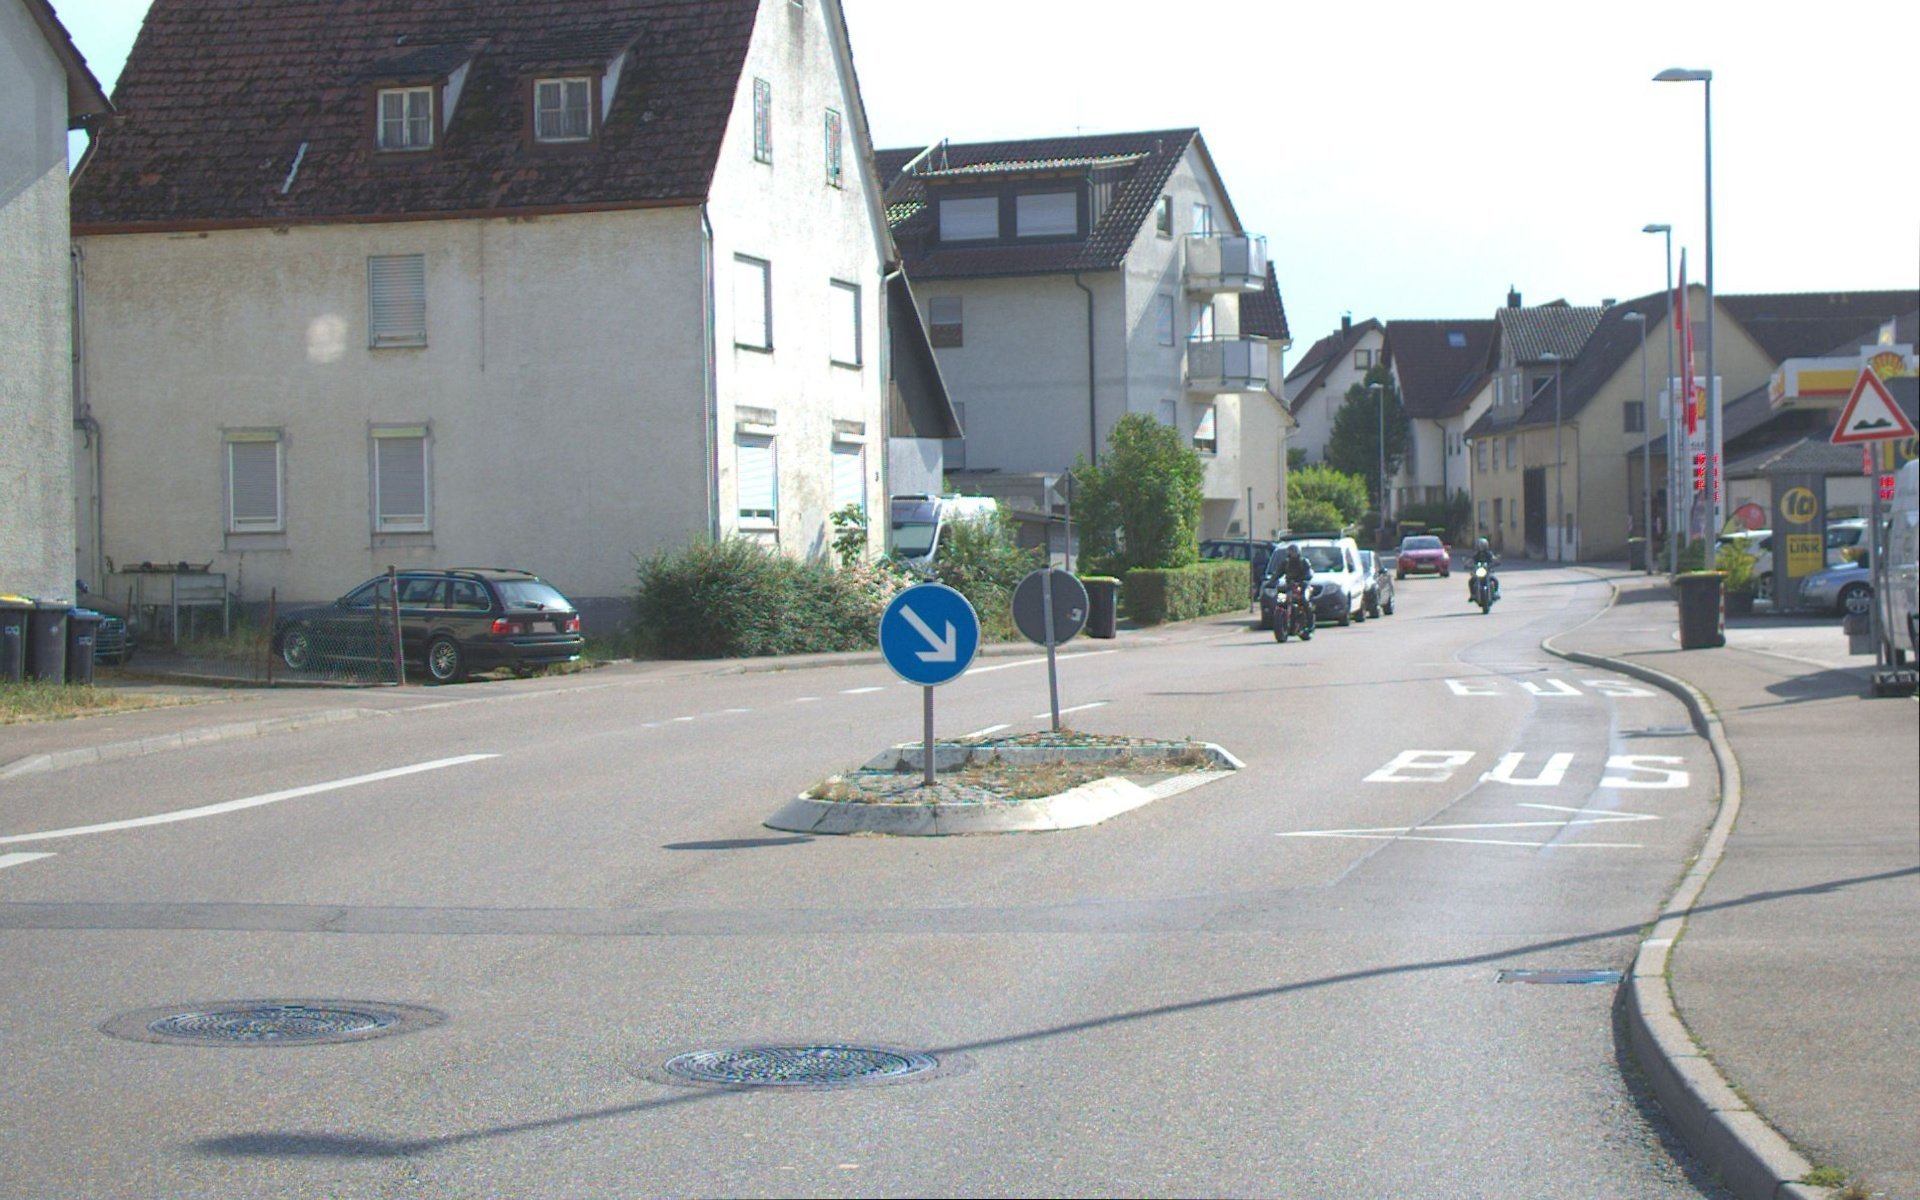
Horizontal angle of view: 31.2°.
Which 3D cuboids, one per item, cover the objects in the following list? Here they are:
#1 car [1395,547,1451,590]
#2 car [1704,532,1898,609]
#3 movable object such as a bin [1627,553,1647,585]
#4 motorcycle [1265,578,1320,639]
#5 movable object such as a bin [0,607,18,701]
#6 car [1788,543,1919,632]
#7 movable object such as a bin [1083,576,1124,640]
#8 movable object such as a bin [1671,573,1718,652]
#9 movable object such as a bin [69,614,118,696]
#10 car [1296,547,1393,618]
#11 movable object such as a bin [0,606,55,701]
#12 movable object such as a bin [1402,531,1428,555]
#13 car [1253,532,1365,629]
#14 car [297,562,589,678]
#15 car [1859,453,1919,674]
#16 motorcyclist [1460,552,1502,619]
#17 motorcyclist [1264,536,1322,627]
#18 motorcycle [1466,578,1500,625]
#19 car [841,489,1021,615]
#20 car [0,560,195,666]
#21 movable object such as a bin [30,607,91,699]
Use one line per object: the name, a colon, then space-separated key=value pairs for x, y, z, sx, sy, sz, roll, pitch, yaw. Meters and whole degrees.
car: x=16.084 y=-1.102 z=119.574 sx=1.709 sy=1.430 sz=3.780 roll=-2 pitch=1 yaw=5
car: x=18.106 y=-0.641 z=74.176 sx=3.989 sy=1.602 sz=1.999 roll=0 pitch=1 yaw=12
movable object such as a bin: x=23.260 y=-1.058 z=118.069 sx=0.653 sy=1.070 sz=0.513 roll=-1 pitch=1 yaw=9
motorcycle: x=5.705 y=0.135 z=58.886 sx=0.538 sy=1.009 sz=2.026 roll=2 pitch=1 yaw=17
movable object such as a bin: x=-10.560 y=0.588 z=37.324 sx=0.361 sy=1.012 sz=0.557 roll=-1 pitch=-1 yaw=29
car: x=17.015 y=-0.245 z=61.937 sx=3.989 sy=1.526 sz=1.527 roll=-1 pitch=1 yaw=11
movable object such as a bin: x=2.507 y=0.137 z=60.158 sx=0.611 sy=1.097 sz=0.575 roll=0 pitch=0 yaw=13
movable object such as a bin: x=10.207 y=0.165 z=47.801 sx=0.567 sy=1.071 sz=0.572 roll=-2 pitch=1 yaw=8
movable object such as a bin: x=-9.790 y=0.615 z=38.827 sx=0.361 sy=0.922 sz=0.399 roll=-1 pitch=-1 yaw=29
car: x=8.494 y=-0.407 z=75.760 sx=1.673 sy=1.446 sz=3.832 roll=-1 pitch=1 yaw=13
movable object such as a bin: x=-10.288 y=0.588 z=37.824 sx=0.361 sy=1.037 sz=0.557 roll=-1 pitch=-1 yaw=29
movable object such as a bin: x=22.281 y=-2.802 z=168.415 sx=1.160 sy=1.164 sz=0.655 roll=-1 pitch=1 yaw=0
car: x=7.164 y=-0.426 z=70.240 sx=1.717 sy=1.866 sz=4.190 roll=-2 pitch=1 yaw=13
car: x=-6.979 y=0.242 z=46.250 sx=3.996 sy=1.428 sz=1.649 roll=1 pitch=2 yaw=40
car: x=11.535 y=-0.450 z=39.296 sx=1.837 sy=2.367 sz=5.177 roll=-1 pitch=1 yaw=8
motorcyclist: x=11.294 y=-0.319 z=74.503 sx=0.803 sy=1.431 sz=1.036 roll=1 pitch=1 yaw=14
motorcyclist: x=5.694 y=-0.315 z=58.786 sx=0.737 sy=1.521 sz=1.015 roll=2 pitch=0 yaw=17
motorcycle: x=11.346 y=0.028 z=74.552 sx=0.525 sy=1.009 sz=2.026 roll=1 pitch=1 yaw=14
car: x=-0.556 y=-1.058 z=73.751 sx=2.160 sy=2.587 sz=6.089 roll=0 pitch=1 yaw=17
car: x=-12.733 y=0.153 z=48.157 sx=3.995 sy=1.356 sz=1.683 roll=1 pitch=2 yaw=35
movable object such as a bin: x=-10.042 y=0.587 z=38.371 sx=0.361 sy=1.019 sz=0.576 roll=-1 pitch=-1 yaw=29
